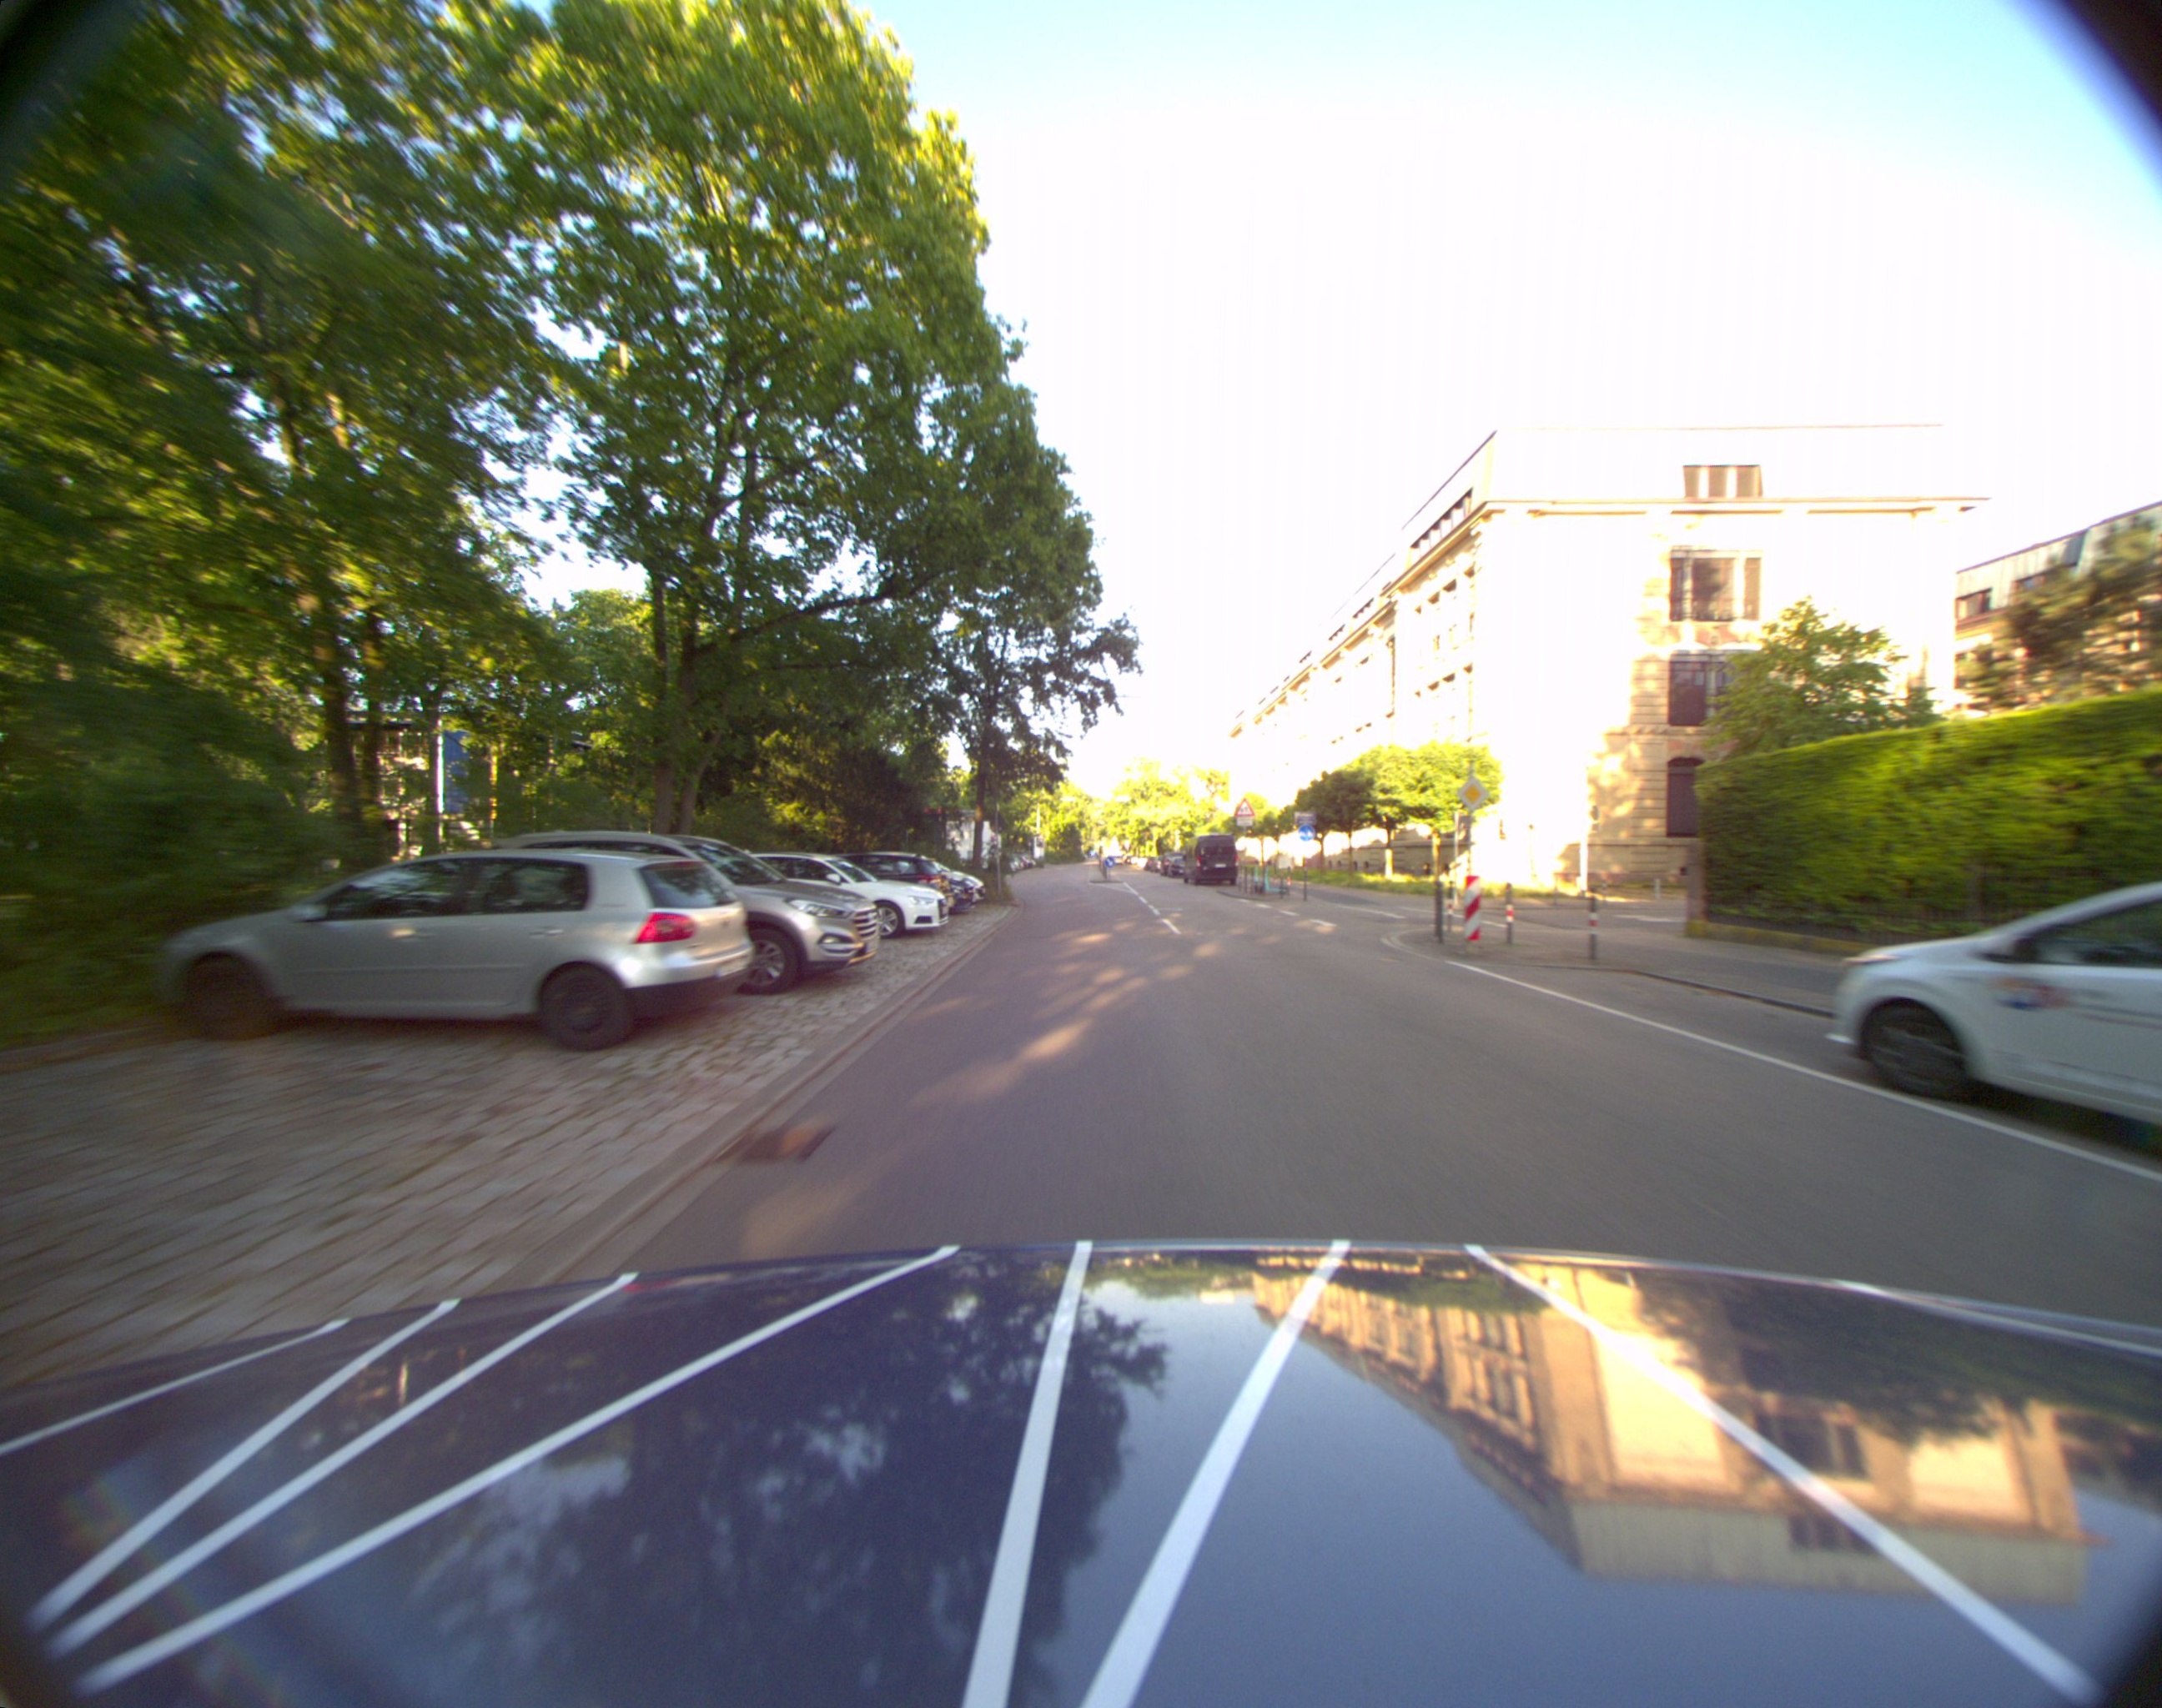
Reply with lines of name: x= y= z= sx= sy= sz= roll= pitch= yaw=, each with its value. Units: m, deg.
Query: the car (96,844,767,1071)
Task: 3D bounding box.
car: x=-4.925 y=0.720 z=6.202 sx=3.997 sy=1.545 sz=1.725 roll=1 pitch=1 yaw=1

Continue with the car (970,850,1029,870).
car: x=-7.209 y=0.518 z=67.355 sx=4.939 sy=1.545 sz=1.916 roll=2 pitch=1 yaw=0

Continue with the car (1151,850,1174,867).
car: x=7.400 y=0.409 z=69.053 sx=1.723 sy=1.487 sz=4.377 roll=0 pitch=0 yaw=2

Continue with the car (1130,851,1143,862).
car: x=7.965 y=0.284 z=109.332 sx=1.806 sy=1.502 sz=4.862 roll=-1 pitch=1 yaw=2

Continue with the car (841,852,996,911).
car: x=-4.542 y=0.757 z=21.600 sx=3.997 sy=1.545 sz=1.725 roll=1 pitch=1 yaw=1

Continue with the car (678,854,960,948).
car: x=-4.653 y=0.818 z=13.965 sx=4.495 sy=1.545 sz=1.857 roll=1 pitch=-1 yaw=2

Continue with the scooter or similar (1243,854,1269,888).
scooter or similar: x=6.681 y=0.631 z=28.979 sx=0.430 sy=1.267 sz=1.347 roll=1 pitch=1 yaw=36

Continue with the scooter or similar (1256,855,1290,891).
scooter or similar: x=7.064 y=0.682 z=27.919 sx=1.346 sy=1.267 sz=0.431 roll=-1 pitch=1 yaw=-34

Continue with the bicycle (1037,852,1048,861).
bicycle: x=-5.165 y=0.309 z=101.192 sx=0.492 sy=1.141 sz=2.289 roll=4 pitch=0 yaw=21

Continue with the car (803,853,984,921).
car: x=-4.499 y=0.793 z=18.661 sx=3.997 sy=1.545 sz=1.726 roll=1 pitch=-1 yaw=1

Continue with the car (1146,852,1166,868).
car: x=7.488 y=0.577 z=75.976 sx=1.622 sy=1.487 sz=4.377 roll=0 pitch=0 yaw=1

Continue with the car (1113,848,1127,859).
car: x=5.409 y=-0.143 z=106.131 sx=1.745 sy=1.450 sz=4.623 roll=1 pitch=1 yaw=0

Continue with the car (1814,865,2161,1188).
car: x=6.014 y=0.876 z=3.488 sx=1.618 sy=1.506 sz=3.711 roll=2 pitch=1 yaw=-1

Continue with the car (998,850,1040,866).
car: x=-6.787 y=0.387 z=82.908 sx=4.374 sy=1.545 sz=1.727 roll=2 pitch=1 yaw=0

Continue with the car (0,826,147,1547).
car: x=-4.781 y=0.759 z=1.221 sx=4.255 sy=1.779 sz=1.883 roll=2 pitch=1 yaw=1

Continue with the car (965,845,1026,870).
car: x=-7.234 y=0.298 z=64.748 sx=4.864 sy=1.905 sz=1.916 roll=2 pitch=1 yaw=0

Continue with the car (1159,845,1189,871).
car: x=7.064 y=0.278 z=58.294 sx=1.782 sy=1.855 sz=4.332 roll=-2 pitch=0 yaw=1

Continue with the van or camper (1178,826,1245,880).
van or camper: x=6.614 y=-0.080 z=39.349 sx=2.235 sy=2.530 sz=7.079 roll=-1 pitch=1 yaw=0

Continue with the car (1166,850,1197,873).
car: x=6.886 y=0.511 z=52.315 sx=1.700 sy=1.462 sz=3.855 roll=-2 pitch=1 yaw=3

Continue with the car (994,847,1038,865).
car: x=-6.903 y=0.190 z=80.953 sx=4.374 sy=1.770 sz=1.920 roll=2 pitch=1 yaw=0

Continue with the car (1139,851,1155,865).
car: x=7.662 y=0.448 z=88.691 sx=1.622 sy=1.487 sz=3.924 roll=0 pitch=0 yaw=1

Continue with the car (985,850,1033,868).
car: x=-6.808 y=0.466 z=72.320 sx=4.374 sy=1.528 sz=1.920 roll=2 pitch=1 yaw=0

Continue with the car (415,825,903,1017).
car: x=-4.426 y=0.661 z=8.551 sx=4.318 sy=1.794 sz=2.035 roll=2 pitch=1 yaw=0

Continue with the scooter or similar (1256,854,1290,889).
scooter or similar: x=7.238 y=0.642 z=28.603 sx=1.346 sy=1.267 sz=0.431 roll=-1 pitch=1 yaw=-34

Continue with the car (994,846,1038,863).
car: x=-6.695 y=0.077 z=79.004 sx=4.374 sy=1.545 sz=1.876 roll=2 pitch=1 yaw=0

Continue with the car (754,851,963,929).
car: x=-4.710 y=0.756 z=16.501 sx=3.997 sy=1.545 sz=1.752 roll=1 pitch=-1 yaw=1

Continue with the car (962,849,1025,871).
car: x=-7.159 y=0.473 z=62.487 sx=4.939 sy=1.545 sz=1.916 roll=2 pitch=1 yaw=0
